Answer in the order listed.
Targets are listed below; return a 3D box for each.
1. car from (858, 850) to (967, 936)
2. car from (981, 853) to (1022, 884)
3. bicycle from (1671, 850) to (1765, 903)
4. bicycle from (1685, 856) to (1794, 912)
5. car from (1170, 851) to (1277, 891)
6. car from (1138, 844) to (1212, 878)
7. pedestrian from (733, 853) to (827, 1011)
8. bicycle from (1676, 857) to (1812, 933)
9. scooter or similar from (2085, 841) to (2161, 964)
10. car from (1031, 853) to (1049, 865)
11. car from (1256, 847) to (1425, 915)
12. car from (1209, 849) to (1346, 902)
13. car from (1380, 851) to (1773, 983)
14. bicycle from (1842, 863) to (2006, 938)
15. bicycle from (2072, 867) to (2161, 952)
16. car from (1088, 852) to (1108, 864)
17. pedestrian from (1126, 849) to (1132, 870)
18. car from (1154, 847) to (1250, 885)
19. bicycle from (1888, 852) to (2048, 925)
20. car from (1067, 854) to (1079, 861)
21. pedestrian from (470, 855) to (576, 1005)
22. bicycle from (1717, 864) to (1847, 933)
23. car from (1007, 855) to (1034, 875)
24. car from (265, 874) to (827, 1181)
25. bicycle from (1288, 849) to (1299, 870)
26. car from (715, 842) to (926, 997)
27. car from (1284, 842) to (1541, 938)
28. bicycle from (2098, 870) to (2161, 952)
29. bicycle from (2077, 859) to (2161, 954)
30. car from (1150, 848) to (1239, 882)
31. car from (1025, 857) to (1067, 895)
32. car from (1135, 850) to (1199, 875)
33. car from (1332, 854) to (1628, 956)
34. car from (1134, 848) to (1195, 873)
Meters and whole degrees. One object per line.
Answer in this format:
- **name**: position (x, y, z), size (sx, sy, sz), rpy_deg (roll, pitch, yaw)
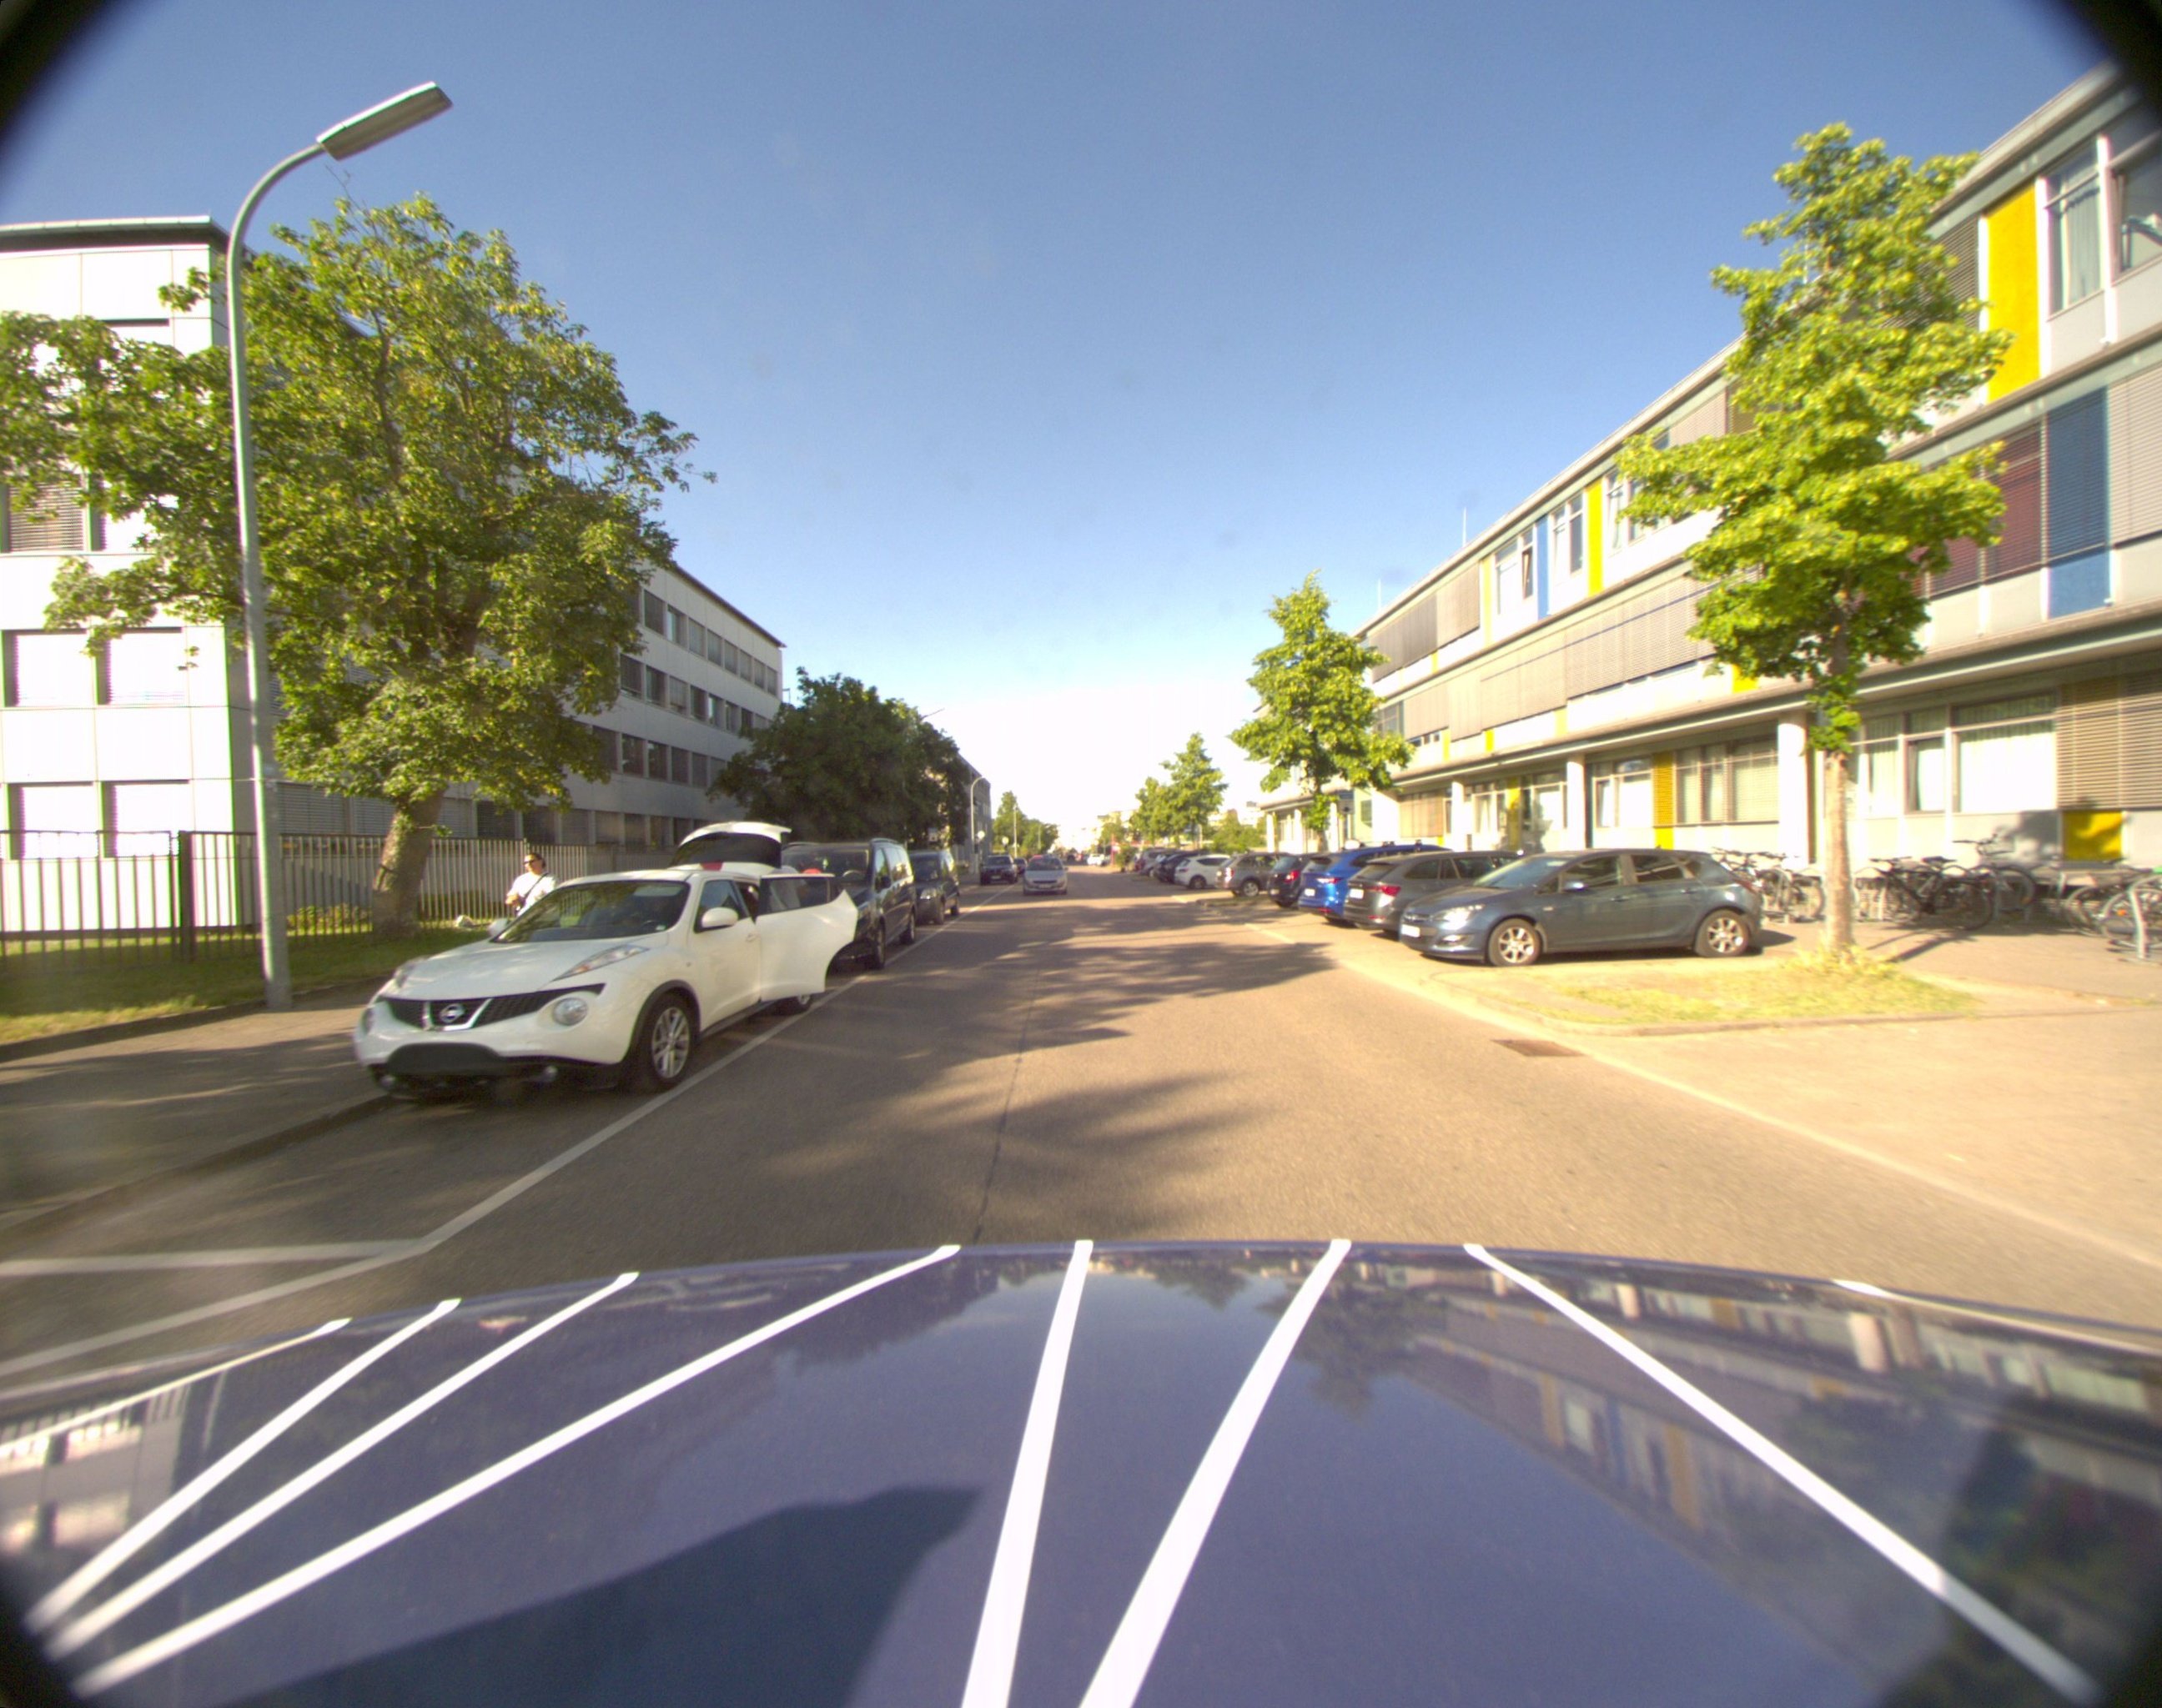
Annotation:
- **car**: position (-3.977, 0.848, 18.646), size (1.706, 1.784, 4.293), rpy_deg (-3, 0, -1)
- **car**: position (-4.525, 0.790, 43.670), size (1.891, 1.616, 4.293), rpy_deg (-3, 0, -1)
- **bicycle**: position (15.161, 0.502, 18.146), size (0.648, 1.192, 1.855), rpy_deg (-1, 0, -2)
- **bicycle**: position (13.942, 0.601, 16.160), size (0.648, 1.089, 1.855), rpy_deg (-1, 0, -2)
- **car**: position (6.023, 0.686, 32.314), size (4.102, 1.415, 1.823), rpy_deg (-3, 1, -3)
- **car**: position (5.895, 0.446, 48.086), size (4.359, 1.852, 2.000), rpy_deg (-3, 0, 0)
- **pedestrian**: position (-3.459, 0.873, 8.772), size (0.589, 1.735, 0.706), rpy_deg (-3, 1, 17)
- **bicycle**: position (10.831, 0.634, 12.509), size (0.637, 1.136, 1.779), rpy_deg (-1, 0, -2)
- **scooter or similar**: position (11.442, 0.501, 7.878), size (0.471, 1.266, 1.205), rpy_deg (-1, 1, 0)
- **car**: position (-5.018, 0.630, 91.838), size (1.999, 1.382, 3.998), rpy_deg (0, 0, -6)
- **car**: position (6.750, 0.668, 19.959), size (3.752, 1.480, 1.777), rpy_deg (-3, 1, -9)
- **car**: position (6.448, 0.672, 25.260), size (3.992, 1.480, 1.823), rpy_deg (-3, 1, -3)
- **car**: position (6.434, 0.761, 10.175), size (4.142, 1.458, 1.753), rpy_deg (-2, 1, -2)
- **bicycle**: position (12.630, 0.659, 11.469), size (0.448, 1.009, 1.779), rpy_deg (-1, 0, -2)
- **bicycle**: position (13.279, 0.678, 9.309), size (0.353, 1.017, 1.396), rpy_deg (-1, 0, -6)
- **car**: position (2.172, 0.522, 99.291), size (2.000, 1.499, 3.997), rpy_deg (0, 0, -7)
- **pedestrian**: position (4.008, 0.471, 63.574), size (0.369, 1.712, 0.479), rpy_deg (-3, 5, -5)
- **car**: position (6.058, 0.556, 38.233), size (4.361, 1.618, 1.999), rpy_deg (-3, 1, -5)
- **bicycle**: position (14.729, 0.528, 12.702), size (0.448, 1.129, 1.855), rpy_deg (-1, 0, -2)
- **car**: position (-1.586, 0.694, 154.634), size (1.912, 1.499, 3.997), rpy_deg (0, 0, -7)
- **pedestrian**: position (-6.688, 0.879, 9.152), size (0.693, 1.718, 0.775), rpy_deg (0, 1, -2)
- **bicycle**: position (11.411, 0.685, 12.449), size (0.428, 1.009, 1.779), rpy_deg (-1, 0, -2)
- **car**: position (-4.760, 0.838, 60.105), size (1.824, 1.435, 4.293), rpy_deg (-3, 0, -1)
- **car**: position (-3.655, 1.018, 6.279), size (1.669, 1.505, 4.113), rpy_deg (-3, 0, 0)
- **bicycle**: position (12.252, 0.286, 43.792), size (0.462, 1.090, 1.514), rpy_deg (-2, 3, 18)
- **car**: position (-3.813, 0.822, 12.146), size (1.869, 1.859, 5.020), rpy_deg (-3, 0, -4)
- **car**: position (6.470, 0.660, 15.154), size (4.232, 1.642, 1.959), rpy_deg (-2, 1, -4)
- **bicycle**: position (13.690, 0.720, 9.365), size (0.353, 1.017, 1.396), rpy_deg (-1, 0, -6)
- **bicycle**: position (12.329, 0.553, 8.333), size (0.353, 1.040, 1.652), rpy_deg (-1, -8, -6)
- **car**: position (6.136, 0.590, 41.247), size (4.361, 1.581, 1.999), rpy_deg (-3, 0, -5)
- **car**: position (-1.354, 0.815, 30.022), size (1.551, 1.389, 3.453), rpy_deg (0, 0, -2)
- **car**: position (6.020, 0.594, 53.712), size (4.358, 1.452, 2.000), rpy_deg (-3, 1, 4)
- **car**: position (6.473, 0.777, 12.587), size (3.998, 1.429, 1.730), rpy_deg (-2, 1, -4)
- **car**: position (6.174, 0.465, 56.599), size (4.358, 1.637, 2.000), rpy_deg (-3, 1, 4)
